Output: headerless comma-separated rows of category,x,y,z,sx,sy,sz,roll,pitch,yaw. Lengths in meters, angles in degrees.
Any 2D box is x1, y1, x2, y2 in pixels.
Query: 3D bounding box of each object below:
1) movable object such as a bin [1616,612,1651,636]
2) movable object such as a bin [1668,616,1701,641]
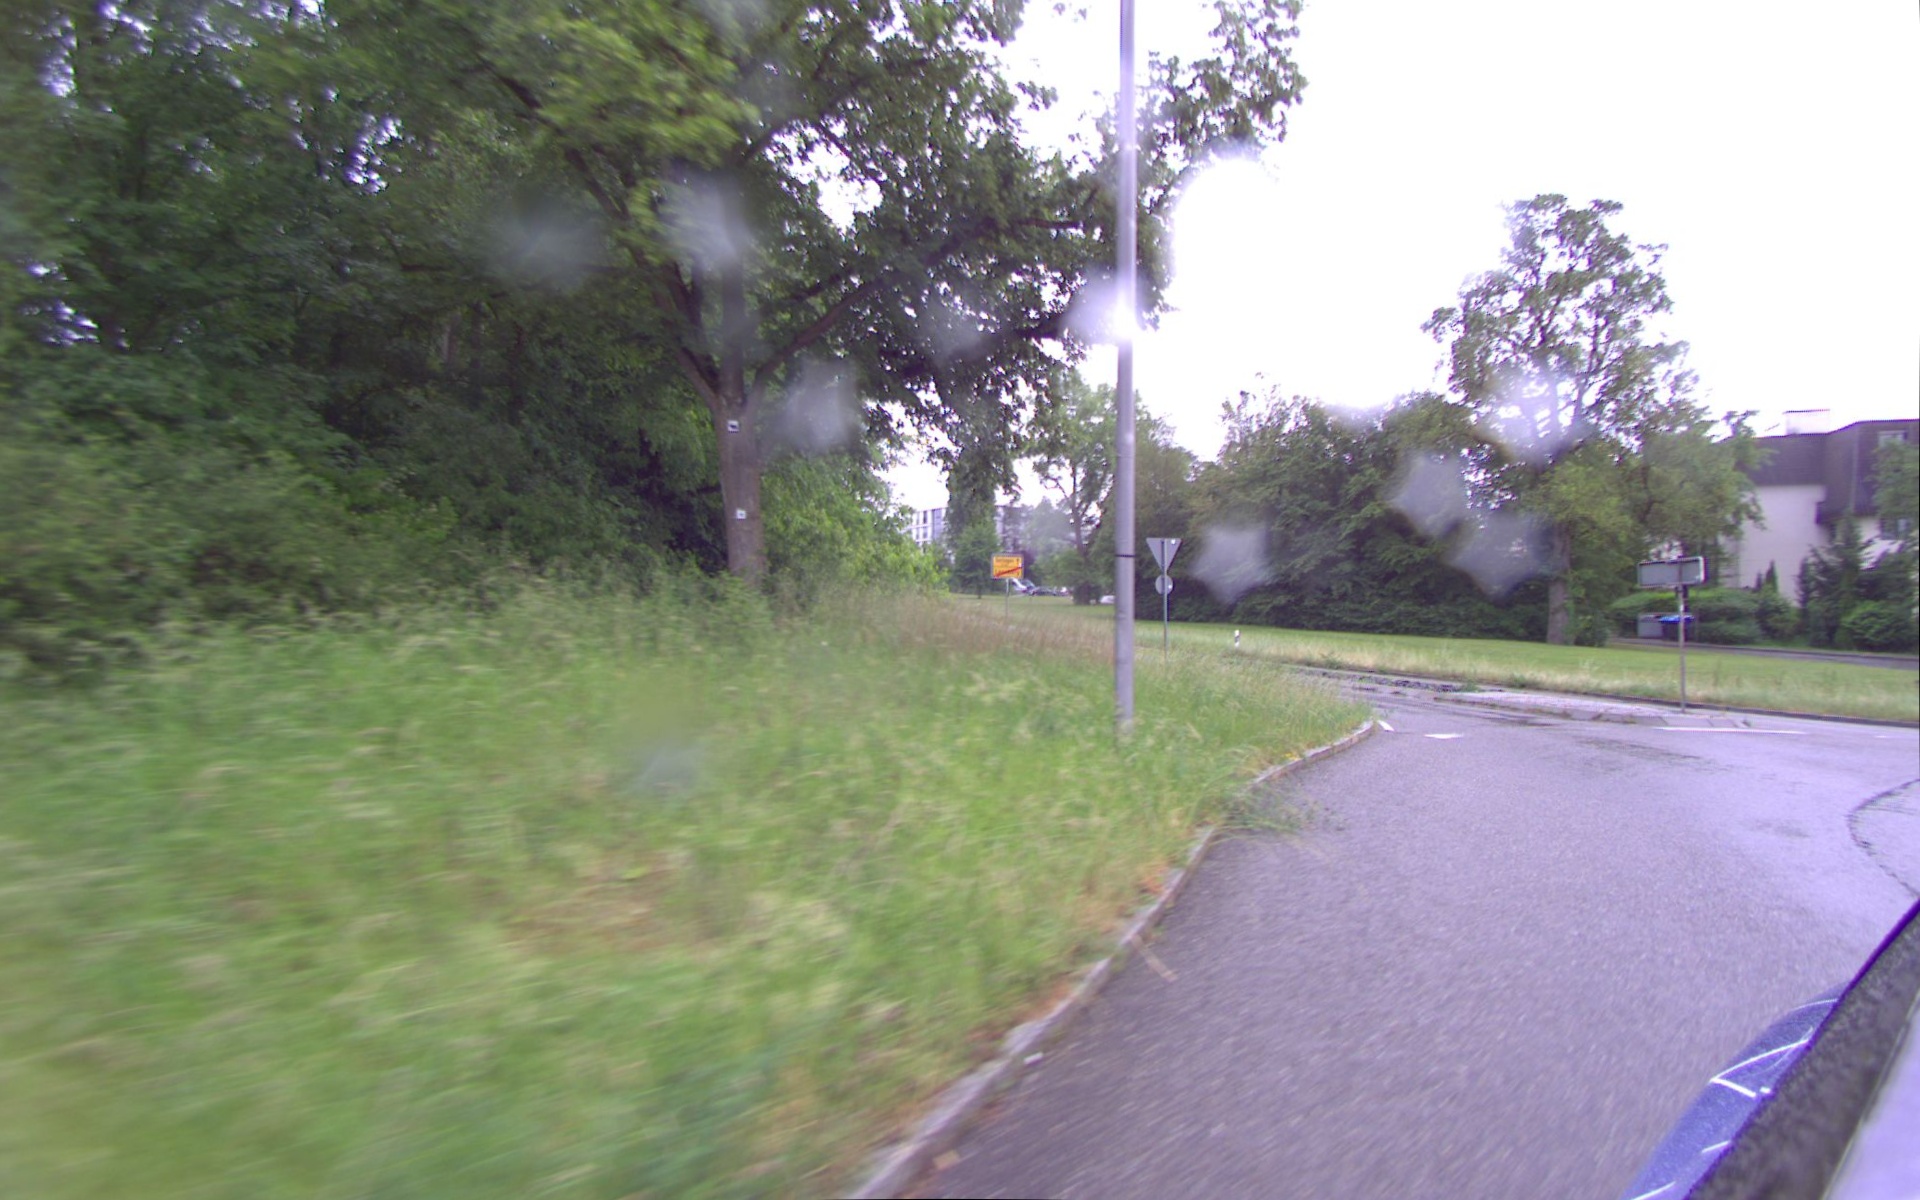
movable object such as a bin,42.981,1.519,64.565,1.174,1.455,1.430,2,0,-5
movable object such as a bin,43.738,1.725,61.121,1.174,1.455,1.076,0,0,-5
